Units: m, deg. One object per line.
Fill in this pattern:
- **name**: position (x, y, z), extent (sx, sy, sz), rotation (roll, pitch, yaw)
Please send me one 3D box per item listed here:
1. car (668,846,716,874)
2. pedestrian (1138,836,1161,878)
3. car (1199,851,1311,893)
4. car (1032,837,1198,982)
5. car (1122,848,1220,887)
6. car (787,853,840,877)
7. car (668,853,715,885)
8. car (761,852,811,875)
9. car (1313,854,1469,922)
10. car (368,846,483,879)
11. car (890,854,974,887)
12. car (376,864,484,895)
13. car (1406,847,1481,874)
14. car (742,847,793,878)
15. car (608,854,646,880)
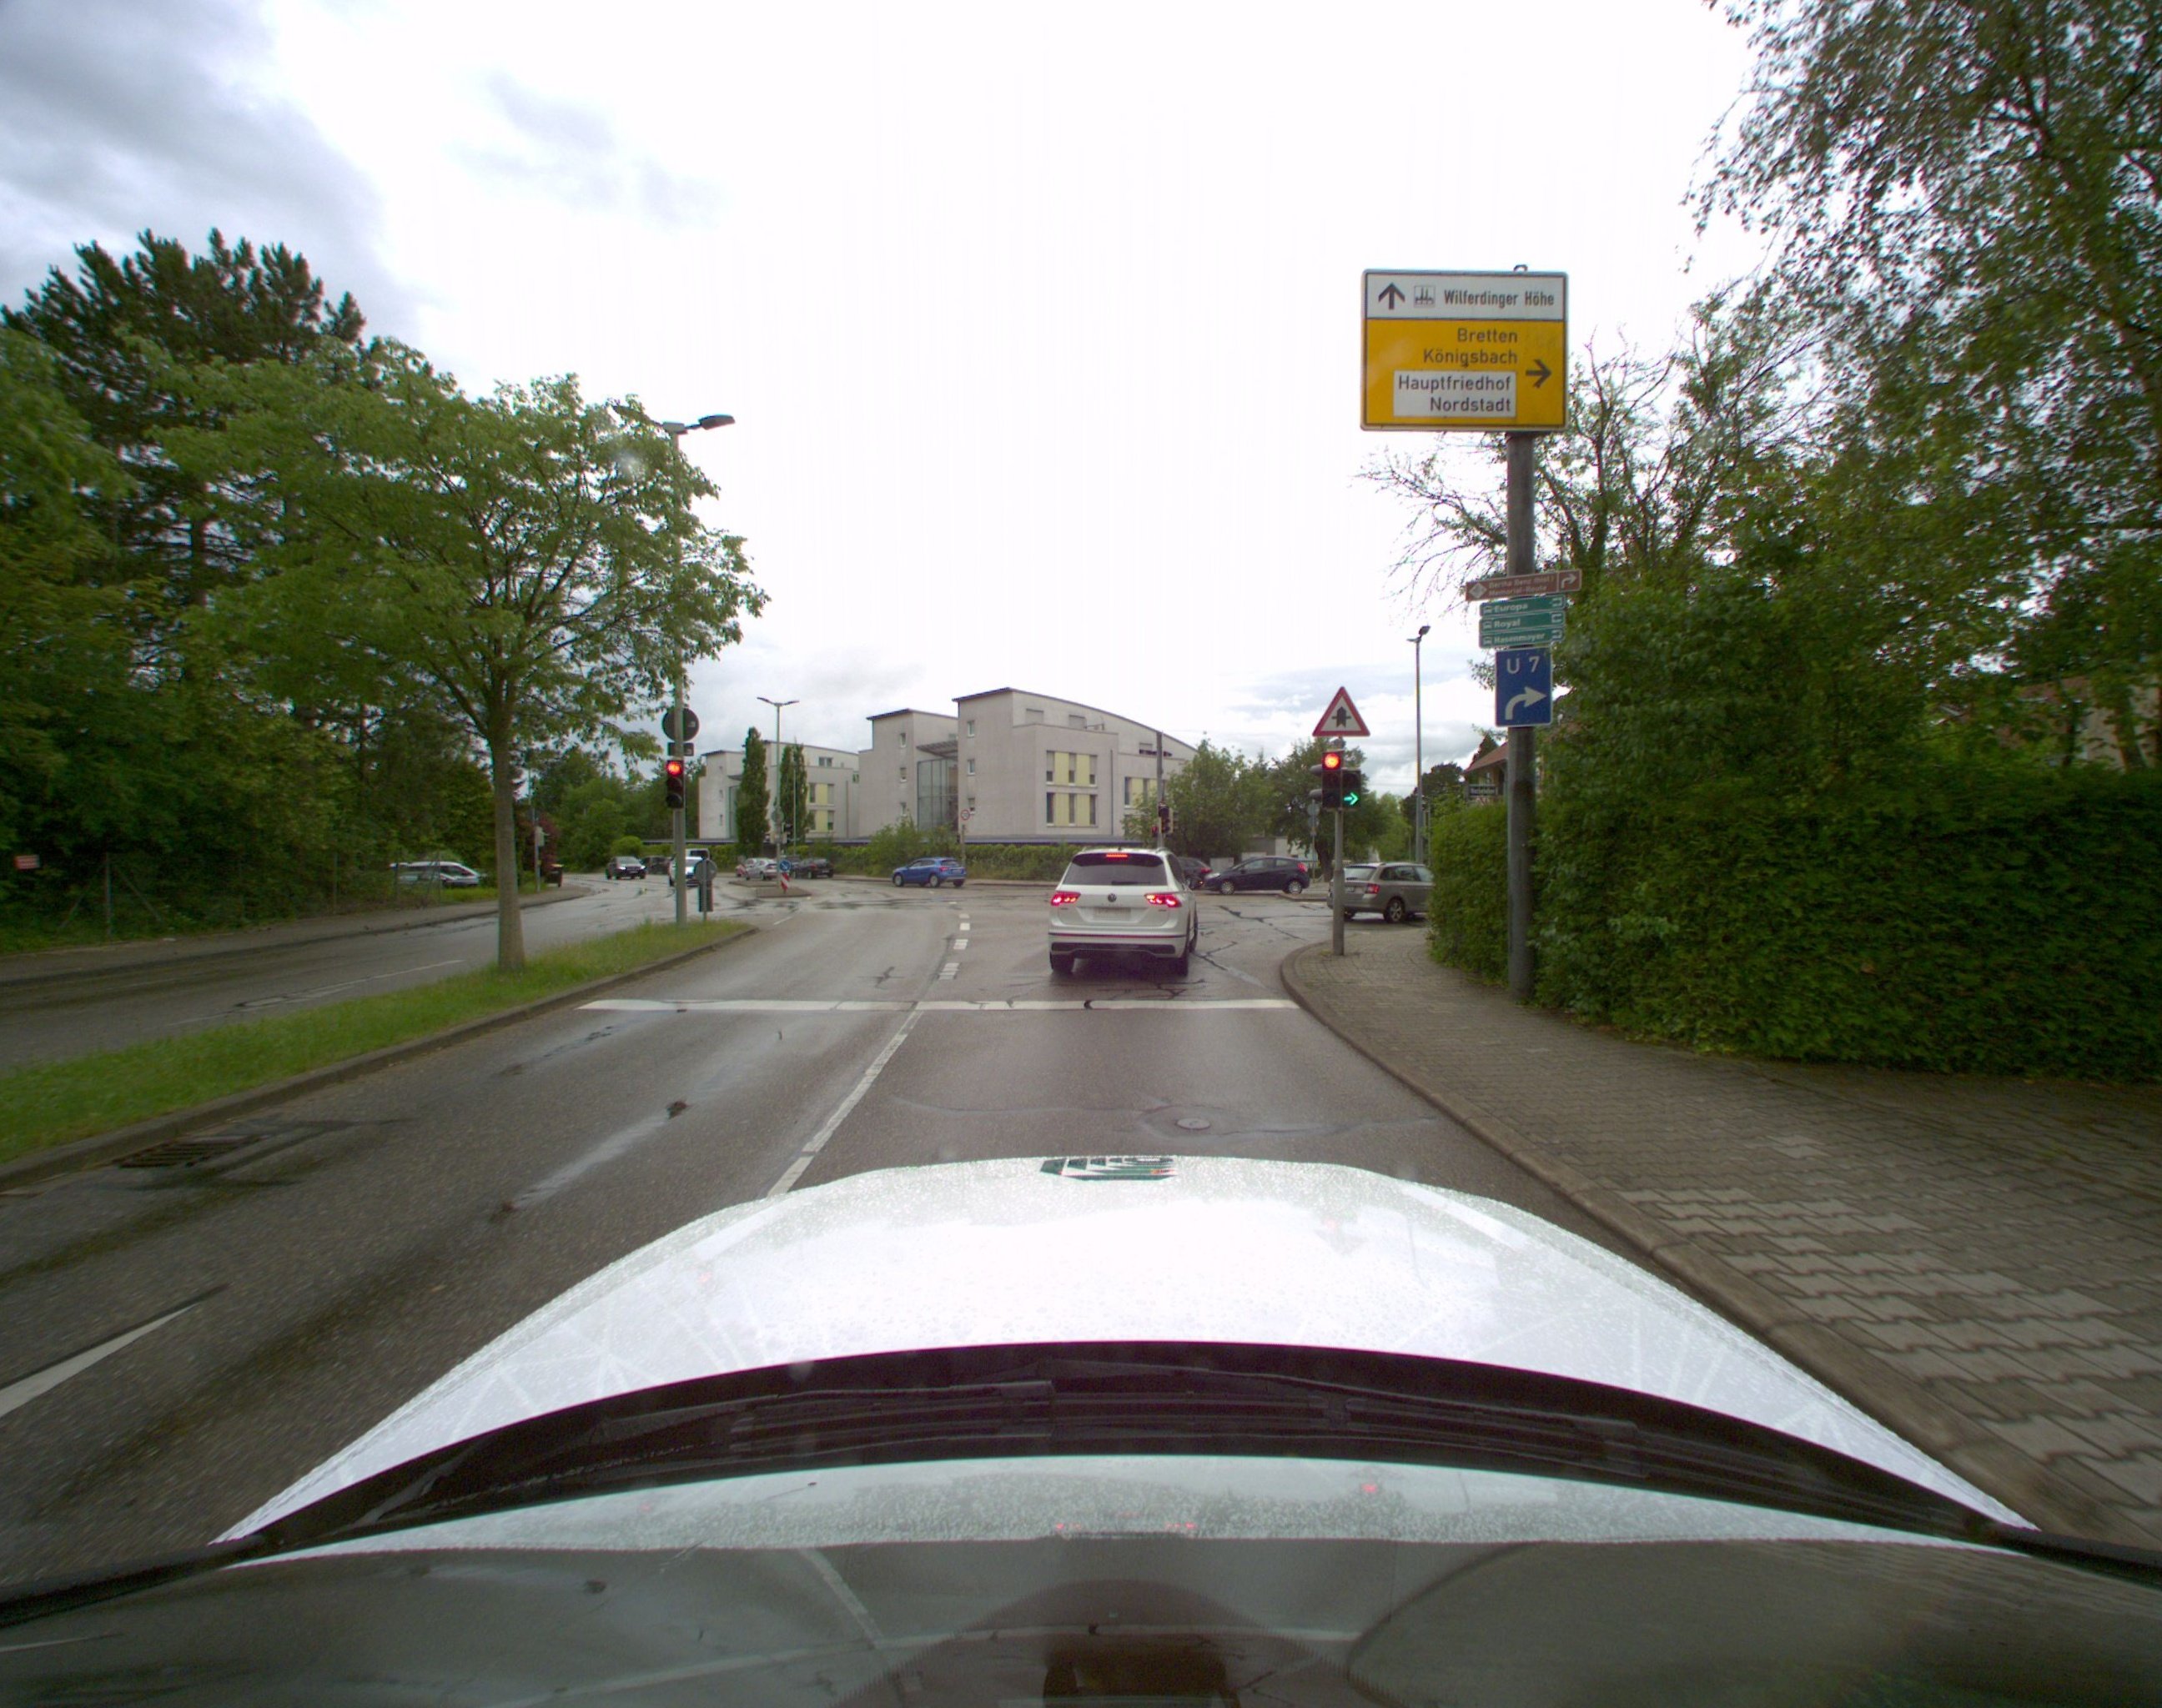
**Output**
- **car**: position (-35.974, 0.570, 75.205), extent (2.614, 2.413, 5.193), rotation (-1, -1, -41)
- **pedestrian**: position (3.340, 0.119, 39.712), extent (0.791, 2.013, 0.855), rotation (-1, 1, 36)
- **car**: position (6.546, 0.655, 30.944), extent (3.968, 1.500, 1.929), rotation (1, 0, 5)
- **car**: position (0.701, 0.674, 11.966), extent (1.909, 1.722, 4.276), rotation (0, 0, 9)
- **car**: position (3.991, 0.591, 35.819), extent (3.958, 1.551, 2.008), rotation (-1, 2, 15)
- **car**: position (-18.918, 0.771, 57.521), extent (2.012, 1.555, 3.951), rotation (-2, 2, -43)
- **car**: position (-21.659, 0.783, 45.184), extent (2.006, 1.640, 3.962), rotation (0, 1, -31)
- **car**: position (-21.953, 0.679, 60.551), extent (2.012, 1.555, 3.951), rotation (-2, 2, -43)
- **car**: position (7.964, 0.790, 20.794), extent (4.016, 1.509, 1.752), rotation (0, 1, -34)
- **car**: position (-30.723, 0.362, 38.367), extent (4.015, 1.464, 1.980), rotation (0, 1, -33)
- **car**: position (-7.618, 0.824, 41.613), extent (3.948, 1.555, 2.013), rotation (0, 2, 35)
- **car**: position (-28.728, 1.107, 36.079), extent (3.601, 1.241, 1.636), rotation (0, 1, -33)
- **car**: position (33.719, 0.582, 76.011), extent (5.959, 2.200, 2.863), rotation (2, 1, 13)
- **car**: position (-20.673, 0.529, 53.646), extent (2.010, 1.757, 3.955), rotation (-1, 4, -39)
- **car**: position (-35.164, 0.960, 63.030), extent (2.010, 1.815, 3.955), rotation (-1, 2, -38)
